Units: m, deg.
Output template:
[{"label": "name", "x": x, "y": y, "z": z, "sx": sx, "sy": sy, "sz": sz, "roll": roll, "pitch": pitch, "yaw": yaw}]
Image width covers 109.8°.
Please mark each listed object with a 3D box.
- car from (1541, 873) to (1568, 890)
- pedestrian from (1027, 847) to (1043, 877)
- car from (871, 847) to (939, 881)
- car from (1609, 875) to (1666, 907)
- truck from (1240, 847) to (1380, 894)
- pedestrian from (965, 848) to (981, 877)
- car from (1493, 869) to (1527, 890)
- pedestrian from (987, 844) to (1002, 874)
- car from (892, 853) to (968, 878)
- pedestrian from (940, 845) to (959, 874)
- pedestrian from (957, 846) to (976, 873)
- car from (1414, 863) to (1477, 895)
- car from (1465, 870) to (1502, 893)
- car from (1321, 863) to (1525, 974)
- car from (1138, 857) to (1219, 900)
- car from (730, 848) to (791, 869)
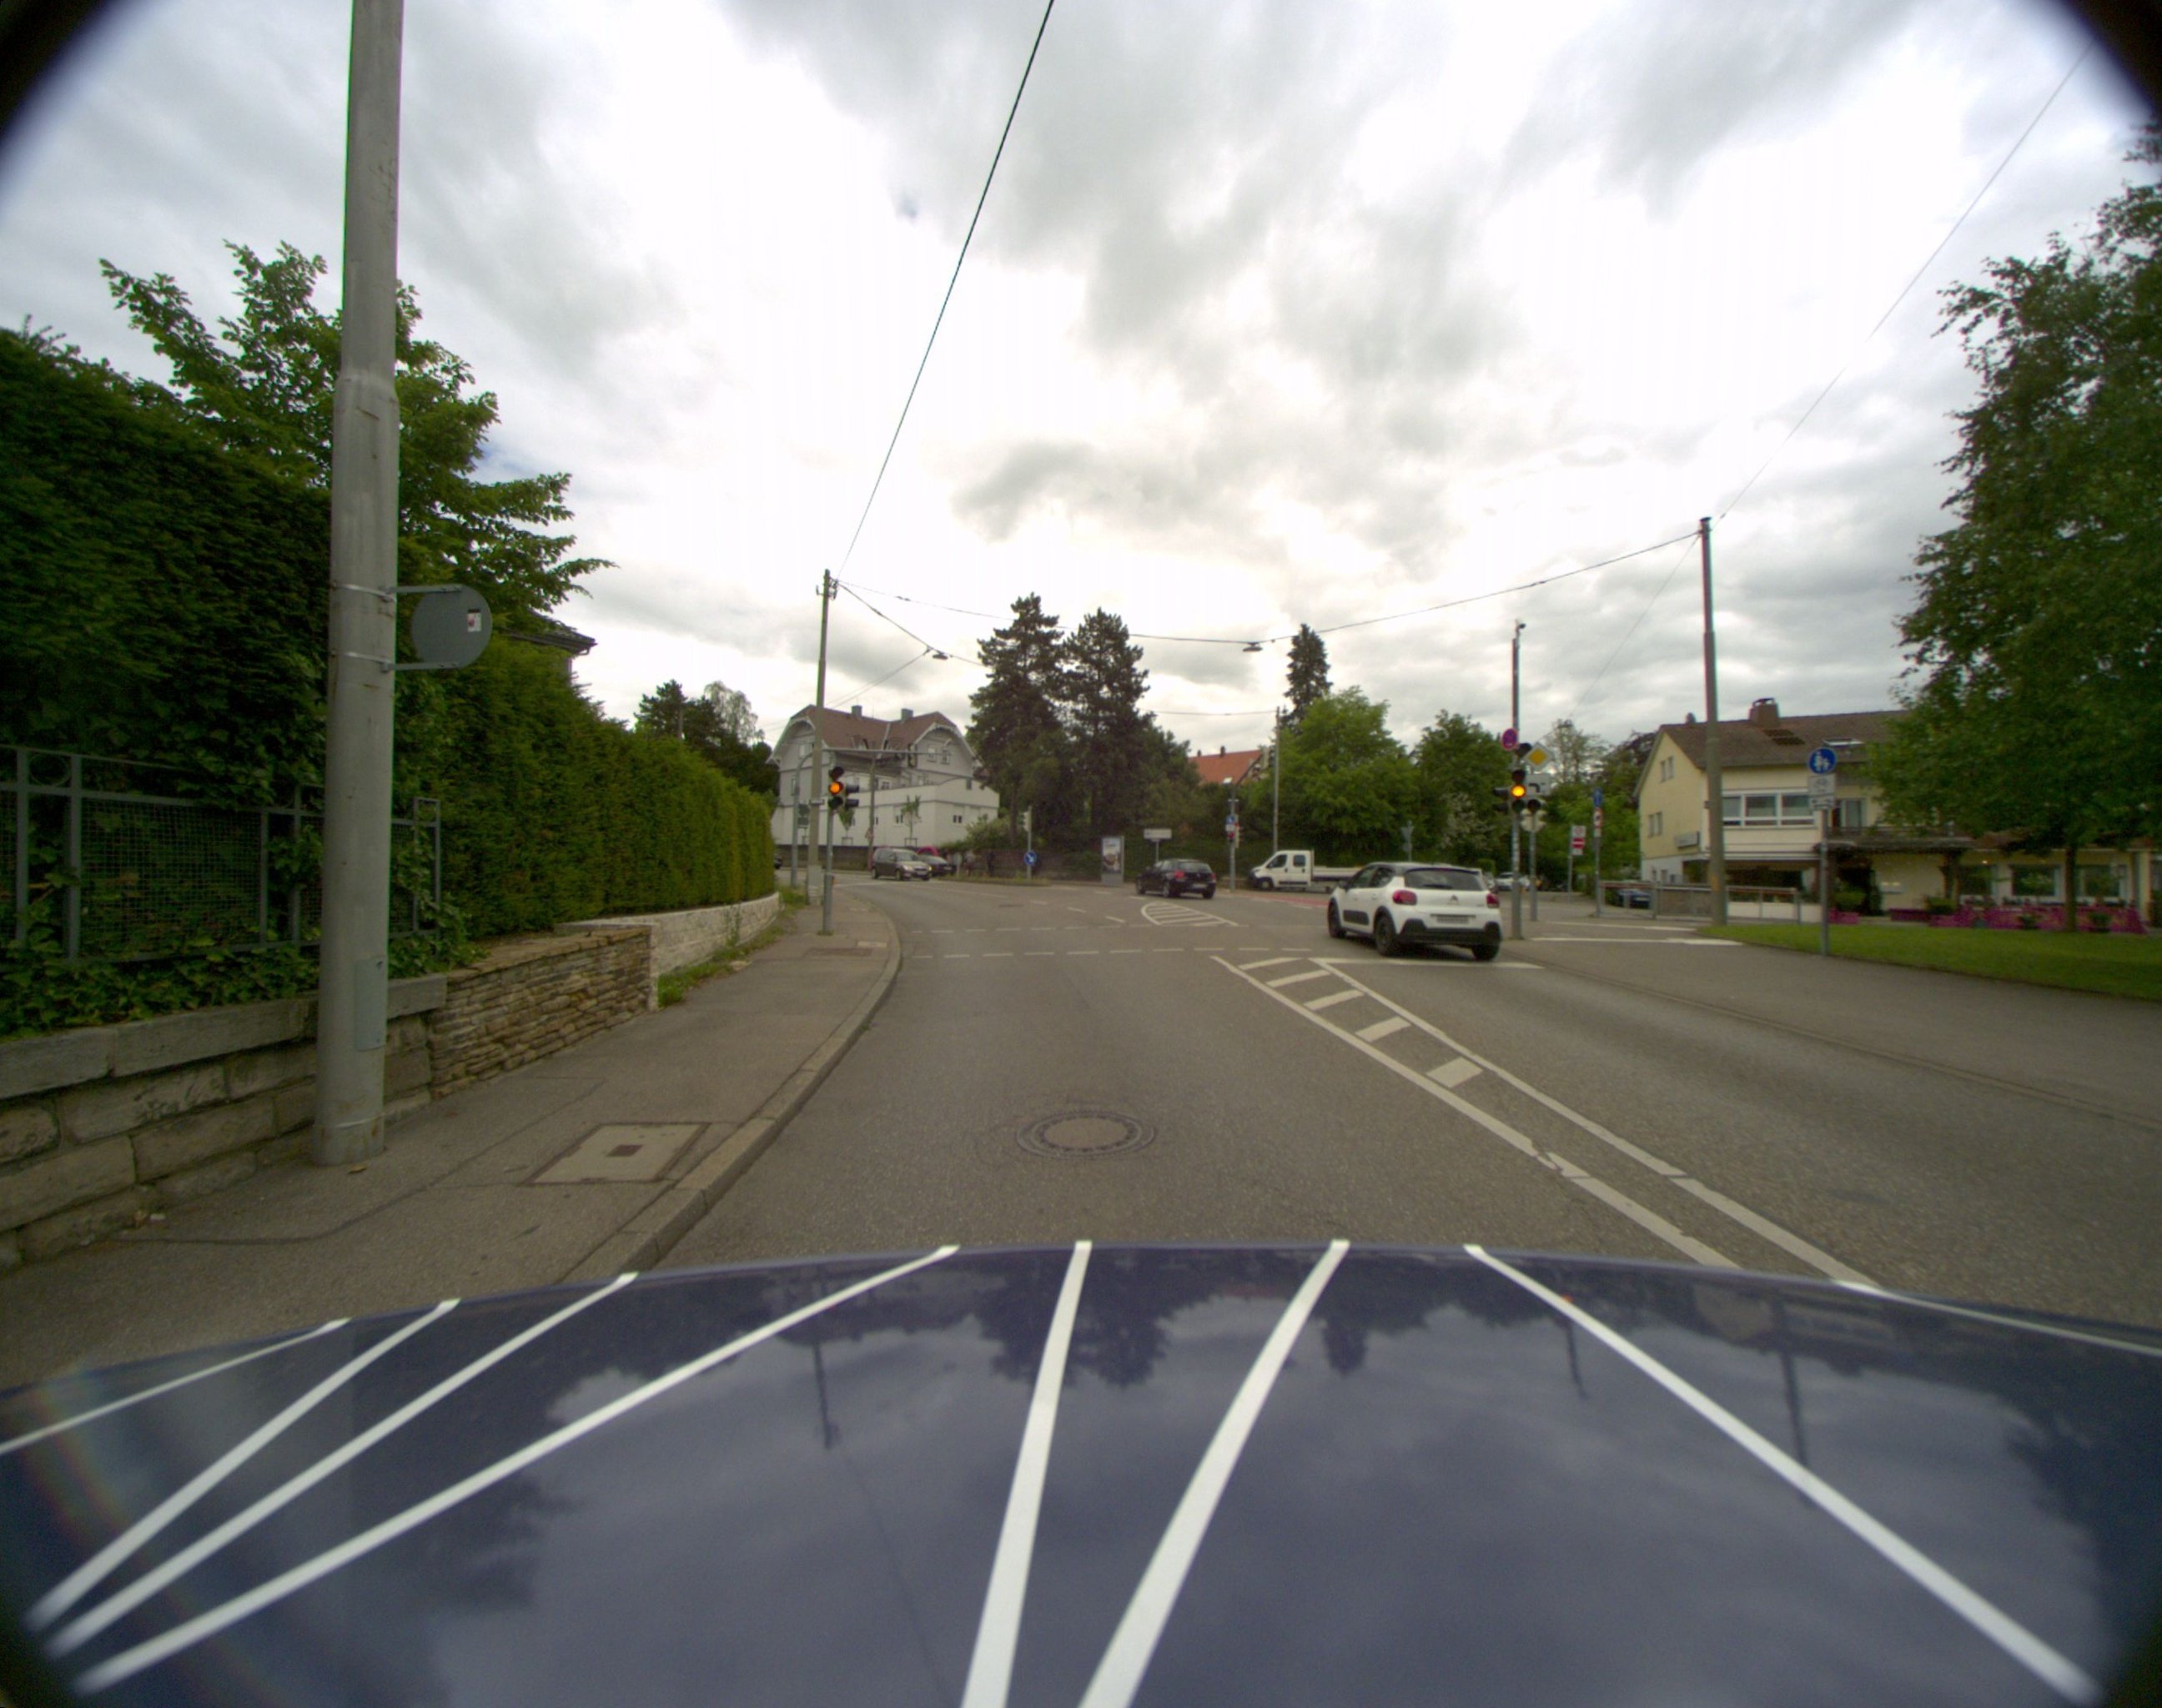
[{"label": "car", "x": 48.160, "y": 2.802, "z": 77.263, "sx": 1.866, "sy": 1.577, "sz": 3.739, "roll": 1, "pitch": 0, "yaw": 39}, {"label": "pedestrian", "x": -2.810, "y": 0.502, "z": 46.265, "sx": 0.611, "sy": 1.824, "sz": 0.680, "roll": 2, "pitch": 0, "yaw": 30}, {"label": "car", "x": -8.806, "y": 0.455, "z": 37.839, "sx": 1.621, "sy": 1.571, "sz": 3.989, "roll": 0, "pitch": 1, "yaw": -40}, {"label": "car", "x": 28.268, "y": 1.821, "z": 38.707, "sx": 1.875, "sy": 1.440, "sz": 4.008, "roll": 2, "pitch": 0, "yaw": 30}, {"label": "truck", "x": 11.815, "y": 0.797, "z": 39.631, "sx": 6.704, "sy": 2.176, "sz": 2.533, "roll": 2, "pitch": 1, "yaw": 15}, {"label": "pedestrian", "x": -6.701, "y": 0.552, "z": 47.241, "sx": 0.665, "sy": 1.777, "sz": 0.614, "roll": 2, "pitch": 0, "yaw": 32}, {"label": "car", "x": 35.531, "y": 2.083, "z": 62.904, "sx": 1.866, "sy": 1.577, "sz": 3.739, "roll": 1, "pitch": 0, "yaw": 39}, {"label": "pedestrian", "x": -5.421, "y": 0.307, "z": 47.581, "sx": 0.611, "sy": 1.824, "sz": 0.605, "roll": 2, "pitch": 0, "yaw": 31}, {"label": "car", "x": -9.034, "y": 0.672, "z": 45.202, "sx": 4.853, "sy": 1.320, "sz": 1.856, "roll": 2, "pitch": 1, "yaw": 42}, {"label": "pedestrian", "x": -8.341, "y": 0.350, "z": 48.187, "sx": 0.686, "sy": 1.803, "sz": 0.882, "roll": 2, "pitch": 0, "yaw": 33}, {"label": "pedestrian", "x": -7.266, "y": 0.353, "z": 48.126, "sx": 0.749, "sy": 1.643, "sz": 0.882, "roll": 1, "pitch": 0, "yaw": 33}, {"label": "car", "x": 19.931, "y": 1.343, "z": 41.478, "sx": 1.994, "sy": 1.603, "sz": 4.009, "roll": 2, "pitch": 0, "yaw": 43}, {"label": "car", "x": 26.863, "y": 1.820, "z": 50.652, "sx": 1.867, "sy": 1.444, "sz": 3.739, "roll": 0, "pitch": 0, "yaw": 33}, {"label": "car", "x": 5.414, "y": 0.927, "z": 12.598, "sx": 1.699, "sy": 1.431, "sz": 3.757, "roll": 3, "pitch": 0, "yaw": 2}, {"label": "car", "x": 3.505, "y": 0.857, "z": 28.022, "sx": 1.768, "sy": 1.400, "sz": 3.996, "roll": 2, "pitch": 0, "yaw": -11}, {"label": "car", "x": -23.609, "y": 0.304, "z": 55.816, "sx": 5.042, "sy": 1.414, "sz": 2.004, "roll": 1, "pitch": 0, "yaw": 40}]
